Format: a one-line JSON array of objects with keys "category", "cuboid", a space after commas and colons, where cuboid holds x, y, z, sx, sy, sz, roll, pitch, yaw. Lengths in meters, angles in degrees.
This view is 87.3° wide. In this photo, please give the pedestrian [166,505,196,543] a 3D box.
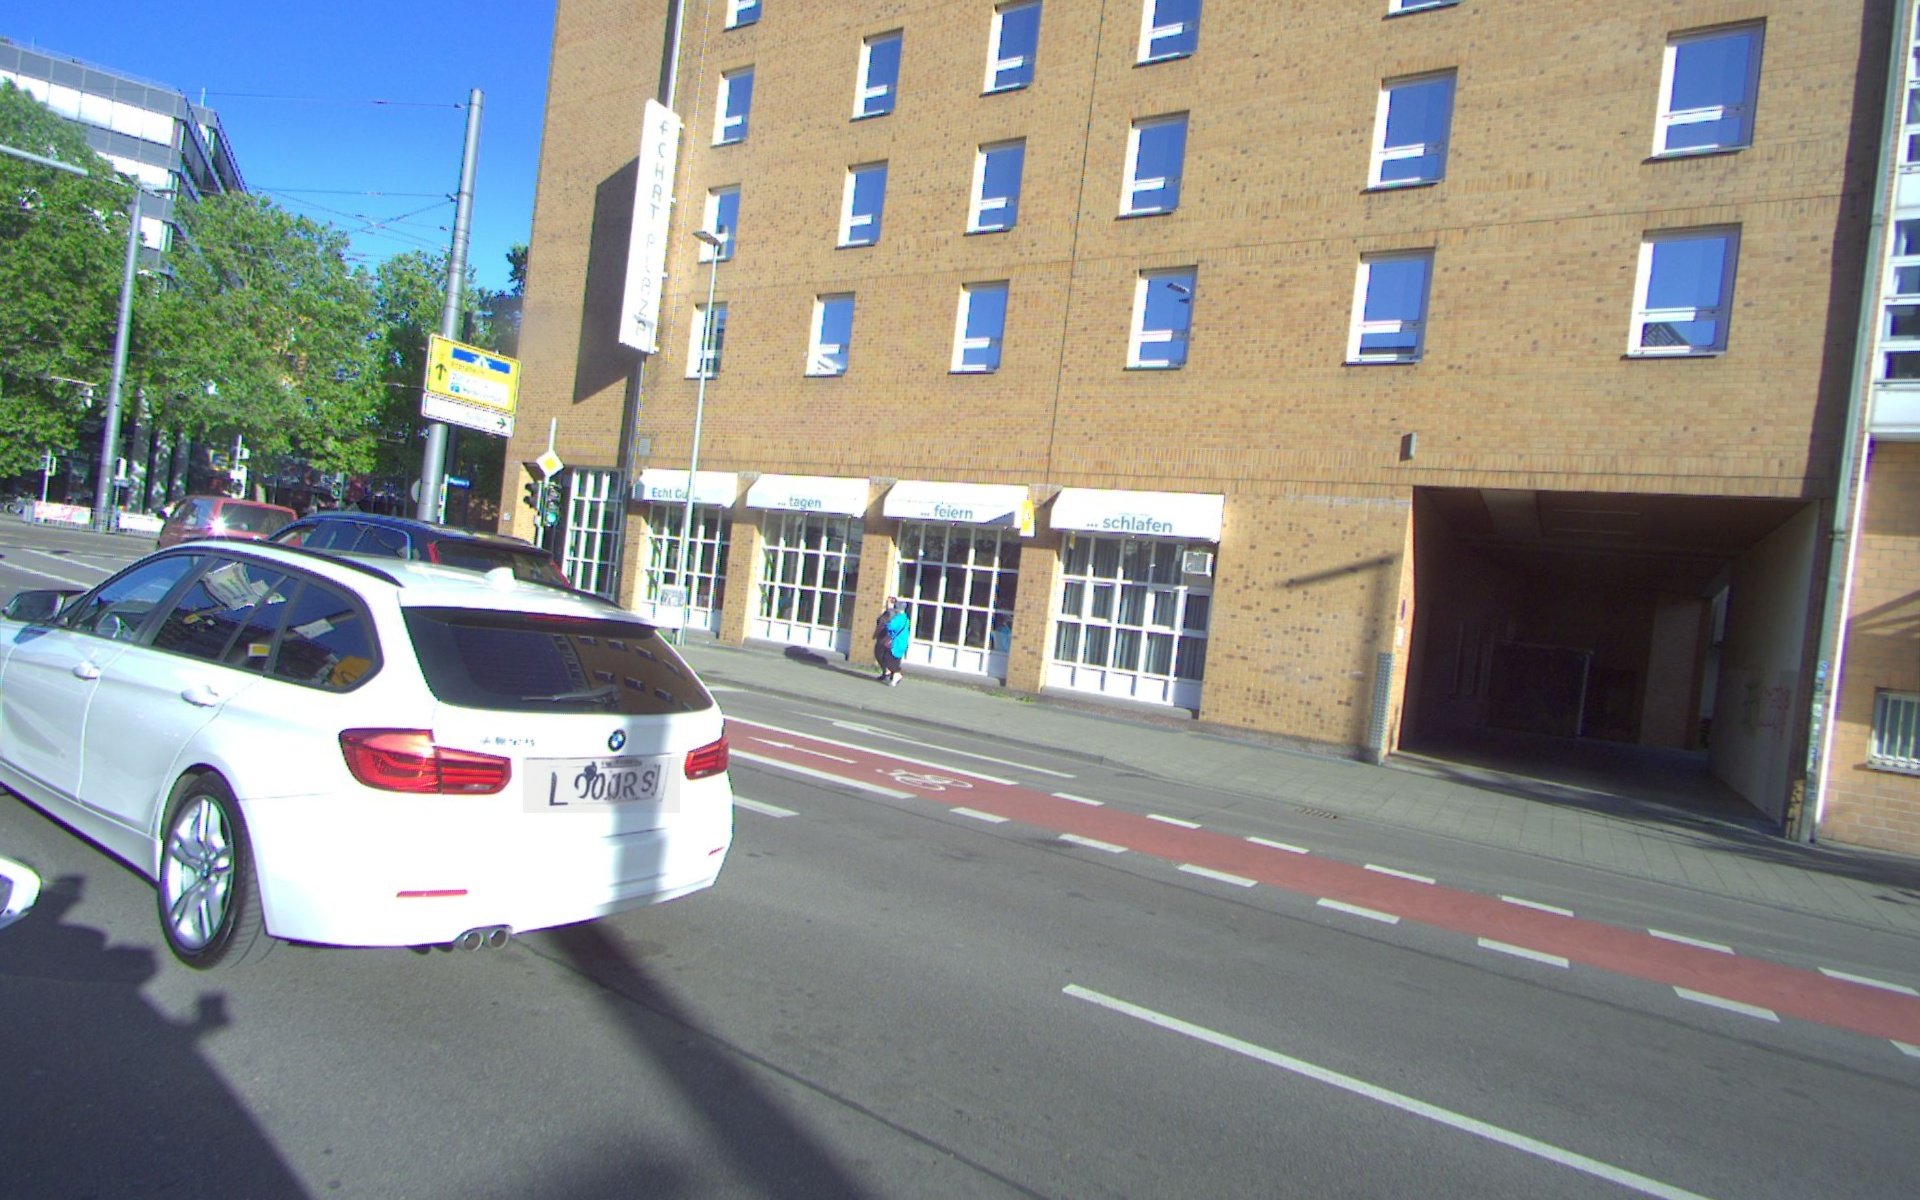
[{"category": "pedestrian", "cuboid": [-33.631, -3.278, 43.453, 0.689, 1.496, 0.568, 7, -1, 14]}]

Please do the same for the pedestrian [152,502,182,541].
[{"category": "pedestrian", "cuboid": [-33.778, -3.346, 42.846, 0.689, 1.550, 0.568, 7, -1, 21]}]

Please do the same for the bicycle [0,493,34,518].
[{"category": "bicycle", "cuboid": [-51.178, -5.135, 54.135, 0.354, 1.058, 1.884, 7, -2, 31]}]

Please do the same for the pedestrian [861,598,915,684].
[{"category": "pedestrian", "cuboid": [-1.301, 0.744, 18.216, 0.591, 1.471, 0.593, 6, 1, 32]}]

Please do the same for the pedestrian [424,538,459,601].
[{"category": "pedestrian", "cuboid": [-15.334, -0.903, 29.758, 0.673, 1.802, 0.591, 7, 1, 43]}]

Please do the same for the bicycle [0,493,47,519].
[{"category": "bicycle", "cuboid": [-49.755, -4.979, 53.319, 0.354, 1.058, 1.884, 6, -2, 31]}]

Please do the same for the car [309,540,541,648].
[{"category": "car", "cuboid": [-9.911, -0.119, 18.612, 3.971, 1.466, 1.736, 6, -2, 28]}]

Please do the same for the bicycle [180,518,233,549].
[{"category": "bicycle", "cuboid": [-38.412, -3.379, 51.319, 0.414, 1.228, 2.046, 6, -2, 32]}]

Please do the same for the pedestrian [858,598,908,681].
[{"category": "pedestrian", "cuboid": [-1.446, 0.742, 18.972, 0.543, 1.495, 0.593, 6, 1, 32]}]

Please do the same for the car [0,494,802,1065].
[{"category": "car", "cuboid": [-3.034, 0.440, 4.665, 4.345, 1.474, 1.735, 6, -2, 32]}]

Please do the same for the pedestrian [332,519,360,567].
[{"category": "pedestrian", "cuboid": [-23.381, -2.173, 38.291, 0.636, 1.719, 0.715, 8, -1, -39]}]

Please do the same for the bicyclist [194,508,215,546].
[{"category": "bicyclist", "cuboid": [-38.449, -3.704, 51.206, 0.396, 1.859, 0.585, 6, -1, 32]}]

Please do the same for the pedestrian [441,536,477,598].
[{"category": "pedestrian", "cuboid": [-15.578, -1.023, 31.277, 0.726, 1.813, 0.510, 7, -1, -19]}]

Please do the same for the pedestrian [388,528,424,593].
[{"category": "pedestrian", "cuboid": [-16.062, -1.133, 29.166, 0.670, 1.804, 0.592, 6, 3, 29]}]

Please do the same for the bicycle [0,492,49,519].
[{"category": "bicycle", "cuboid": [-49.148, -4.934, 52.776, 0.354, 1.058, 1.884, 6, -2, 31]}]

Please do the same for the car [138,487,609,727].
[{"category": "car", "cuboid": [-5.864, 0.014, 9.945, 4.531, 1.752, 1.736, 6, -2, 28]}]

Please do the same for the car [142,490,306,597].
[{"category": "car", "cuboid": [-16.757, -1.312, 22.834, 4.407, 2.033, 1.802, 6, 0, 39]}]

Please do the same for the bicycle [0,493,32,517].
[{"category": "bicycle", "cuboid": [-51.567, -5.181, 54.439, 0.354, 1.058, 1.884, 7, -2, 31]}]

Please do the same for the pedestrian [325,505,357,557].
[{"category": "pedestrian", "cuboid": [-24.313, -2.706, 39.521, 0.787, 1.920, 0.809, 8, -1, -39]}]

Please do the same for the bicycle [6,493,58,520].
[{"category": "bicycle", "cuboid": [-48.409, -4.859, 52.519, 0.354, 1.058, 1.884, 6, -2, 31]}]
